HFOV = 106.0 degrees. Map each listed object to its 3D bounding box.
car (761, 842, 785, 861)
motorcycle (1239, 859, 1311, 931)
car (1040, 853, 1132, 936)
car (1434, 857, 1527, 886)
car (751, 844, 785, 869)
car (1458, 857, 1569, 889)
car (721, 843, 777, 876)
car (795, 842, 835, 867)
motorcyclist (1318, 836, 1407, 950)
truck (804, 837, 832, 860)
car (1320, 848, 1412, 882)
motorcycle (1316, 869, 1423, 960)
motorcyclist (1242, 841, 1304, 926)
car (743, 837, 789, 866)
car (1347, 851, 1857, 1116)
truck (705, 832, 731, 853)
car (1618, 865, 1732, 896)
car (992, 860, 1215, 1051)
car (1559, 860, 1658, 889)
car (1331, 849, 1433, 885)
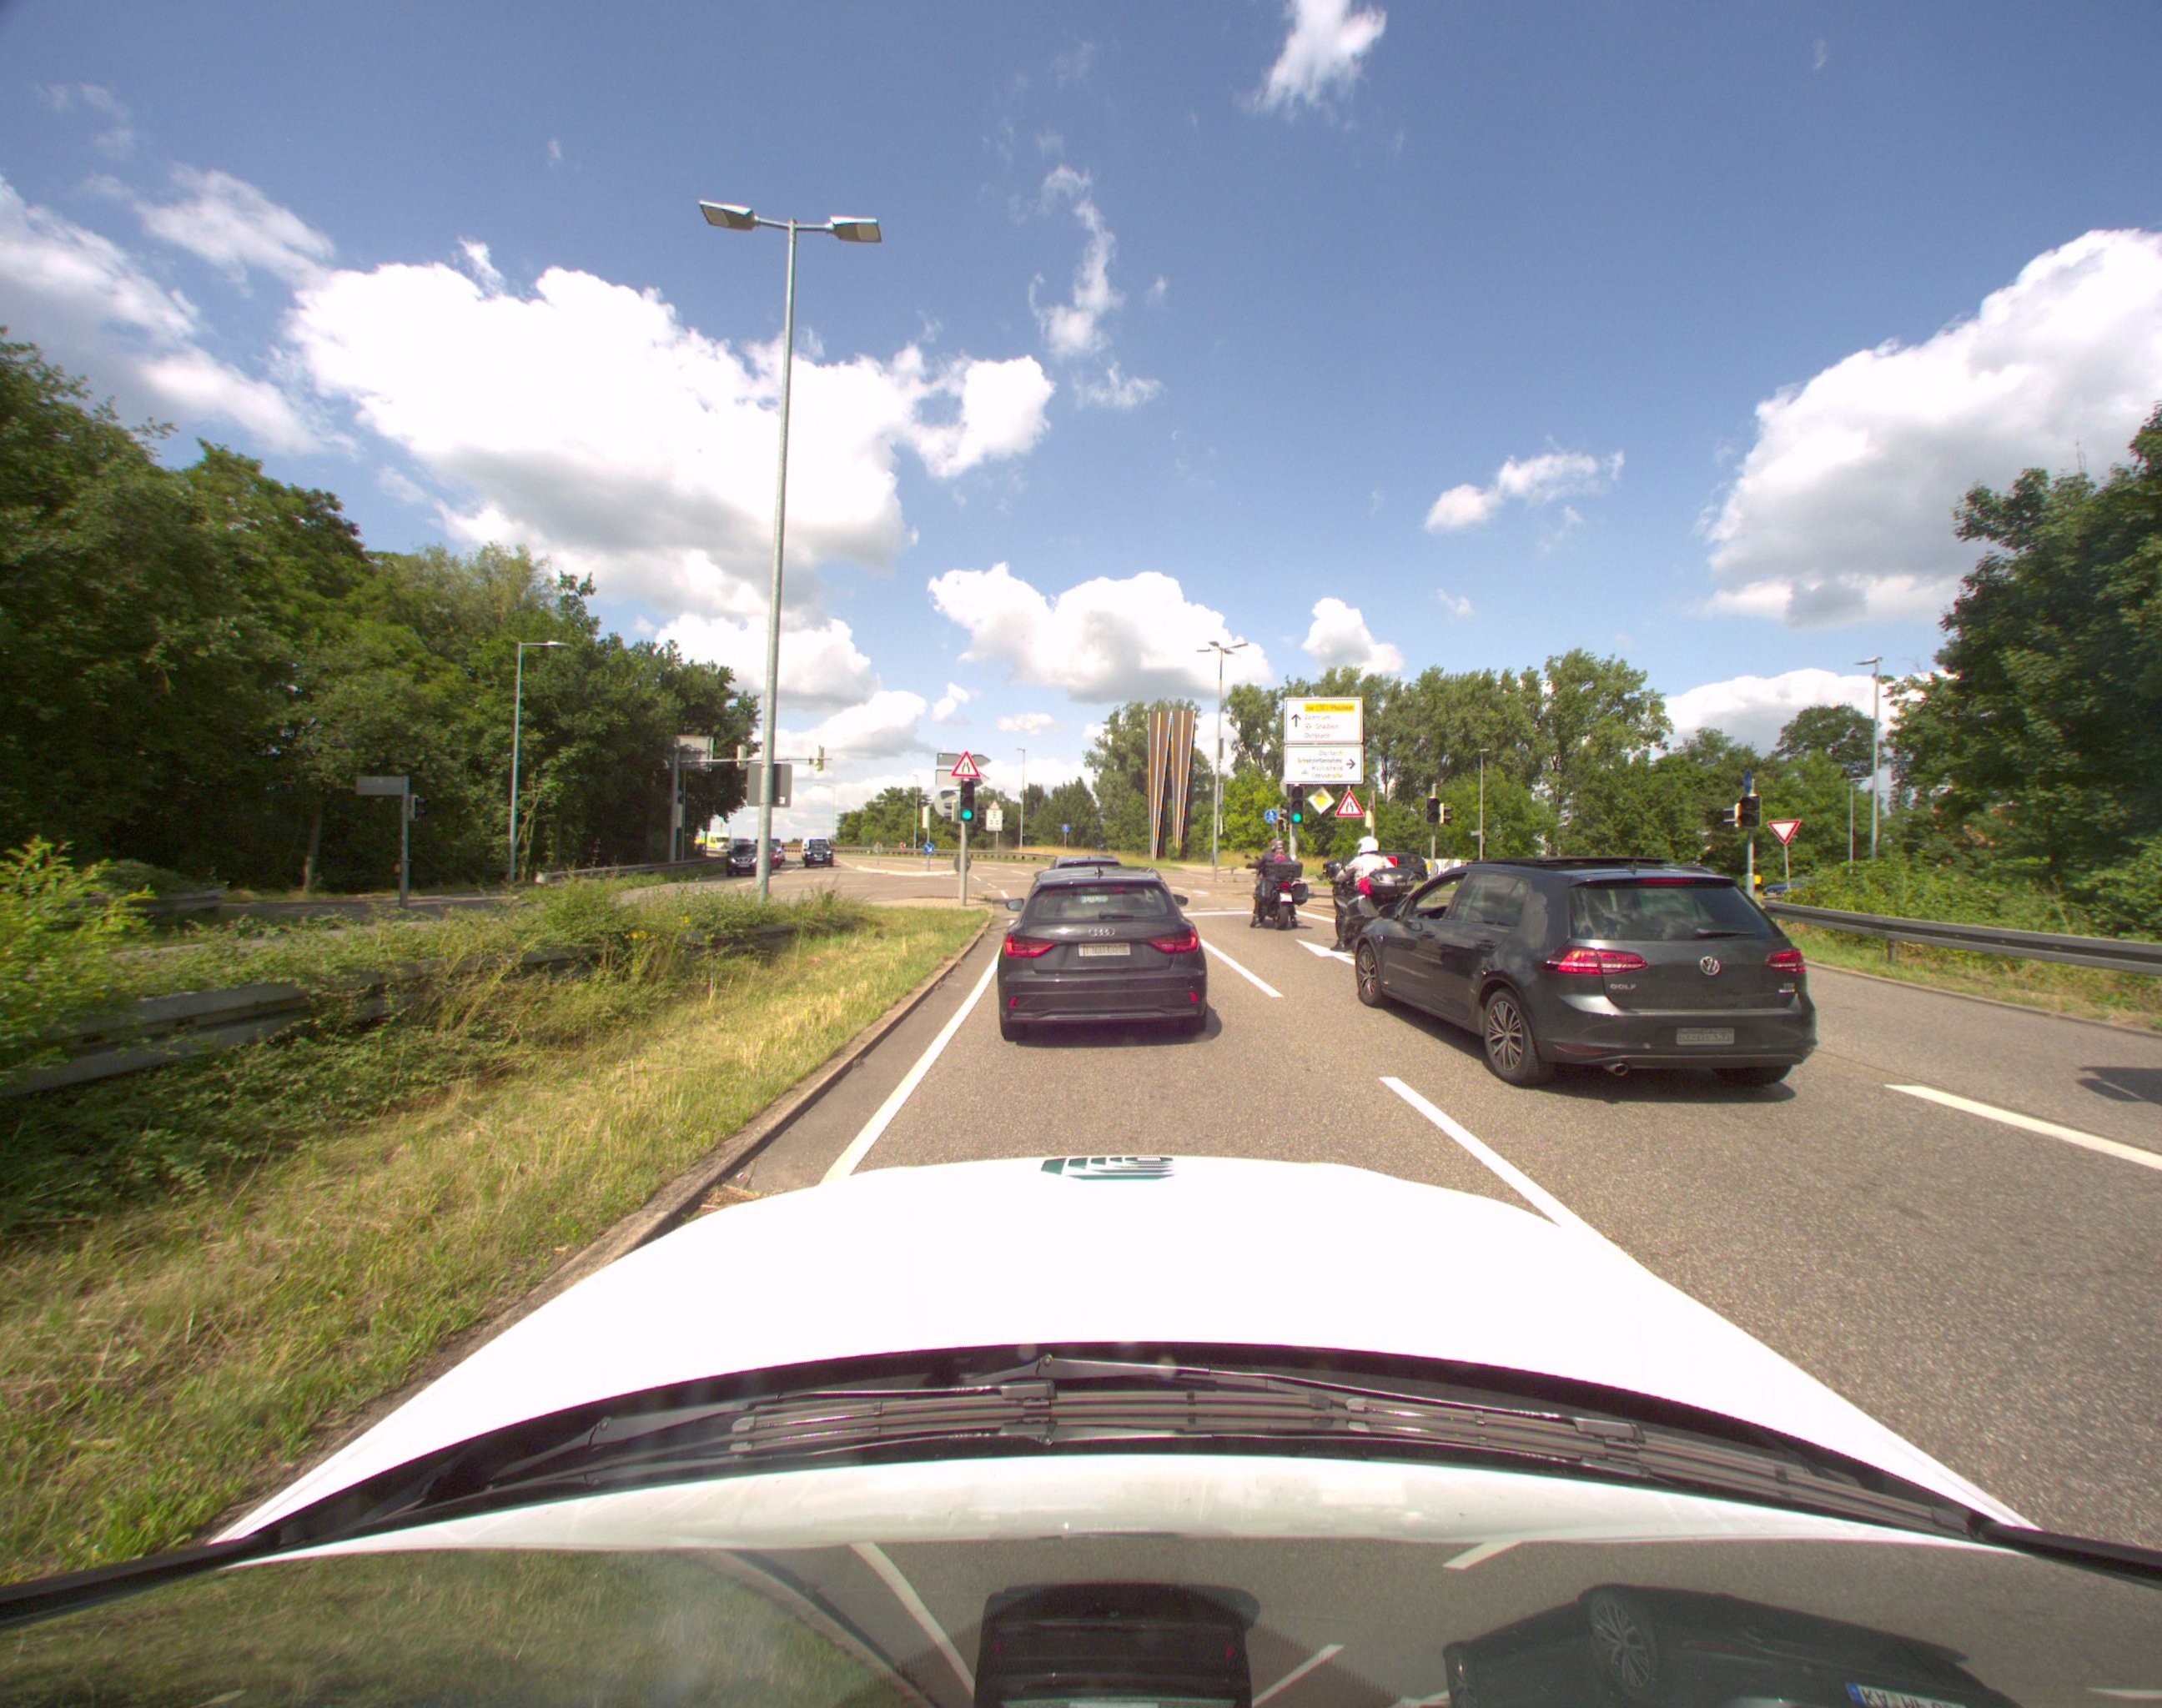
[{"bbox_3d":[-25.564,-0.209,67.471,1.740,1.520,4.038,-2,1,-22],"label":"car"},{"bbox_3d":[3.690,0.738,15.687,0.884,1.247,2.400,0,0,2],"label":"motorcycle"},{"bbox_3d":[0.097,0.721,16.558,1.637,1.479,3.872,0,0,0],"label":"car"},{"bbox_3d":[21.317,0.929,43.534,4.189,1.375,1.646,2,1,-1],"label":"car"},{"bbox_3d":[-19.722,0.140,51.425,1.584,1.432,3.979,-1,1,-15],"label":"car"},{"bbox_3d":[21.047,0.899,39.737,4.515,1.375,1.646,2,1,-1],"label":"car"},{"bbox_3d":[-16.818,0.256,41.411,1.710,1.586,4.267,-2,0,-10],"label":"car"},{"bbox_3d":[-17.138,0.016,52.381,1.708,1.557,3.786,0,1,-30],"label":"car"},{"bbox_3d":[4.186,0.559,12.186,0.962,1.620,1.125,0,0,1],"label":"motorcyclist"},{"bbox_3d":[-22.617,-0.509,69.910,1.968,1.913,5.332,0,1,-22],"label":"truck"},{"bbox_3d":[14.971,0.554,42.961,4.189,1.645,1.837,2,1,-1],"label":"car"},{"bbox_3d":[4.155,0.822,11.947,0.786,1.132,2.400,0,0,2],"label":"motorcycle"},{"bbox_3d":[3.696,0.548,15.777,0.962,1.596,1.125,0,0,1],"label":"motorcyclist"},{"bbox_3d":[-23.234,-0.169,59.937,2.008,2.013,5.081,-2,0,-34],"label":"car"},{"bbox_3d":[3.567,0.720,6.517,1.637,1.479,3.872,0,0,0],"label":"car"},{"bbox_3d":[-45.956,-1.505,103.242,1.997,2.620,6.075,-2,2,-14],"label":"truck"},{"bbox_3d":[29.145,1.293,40.034,4.385,1.290,1.646,2,1,-1],"label":"car"},{"bbox_3d":[0.230,0.789,8.090,1.675,1.387,3.741,-1,0,2],"label":"car"},{"bbox_3d":[28.370,1.084,43.875,4.189,1.375,1.700,2,1,-1],"label":"car"},{"bbox_3d":[14.615,0.628,39.688,4.268,1.617,1.844,2,-1,-1],"label":"car"}]
